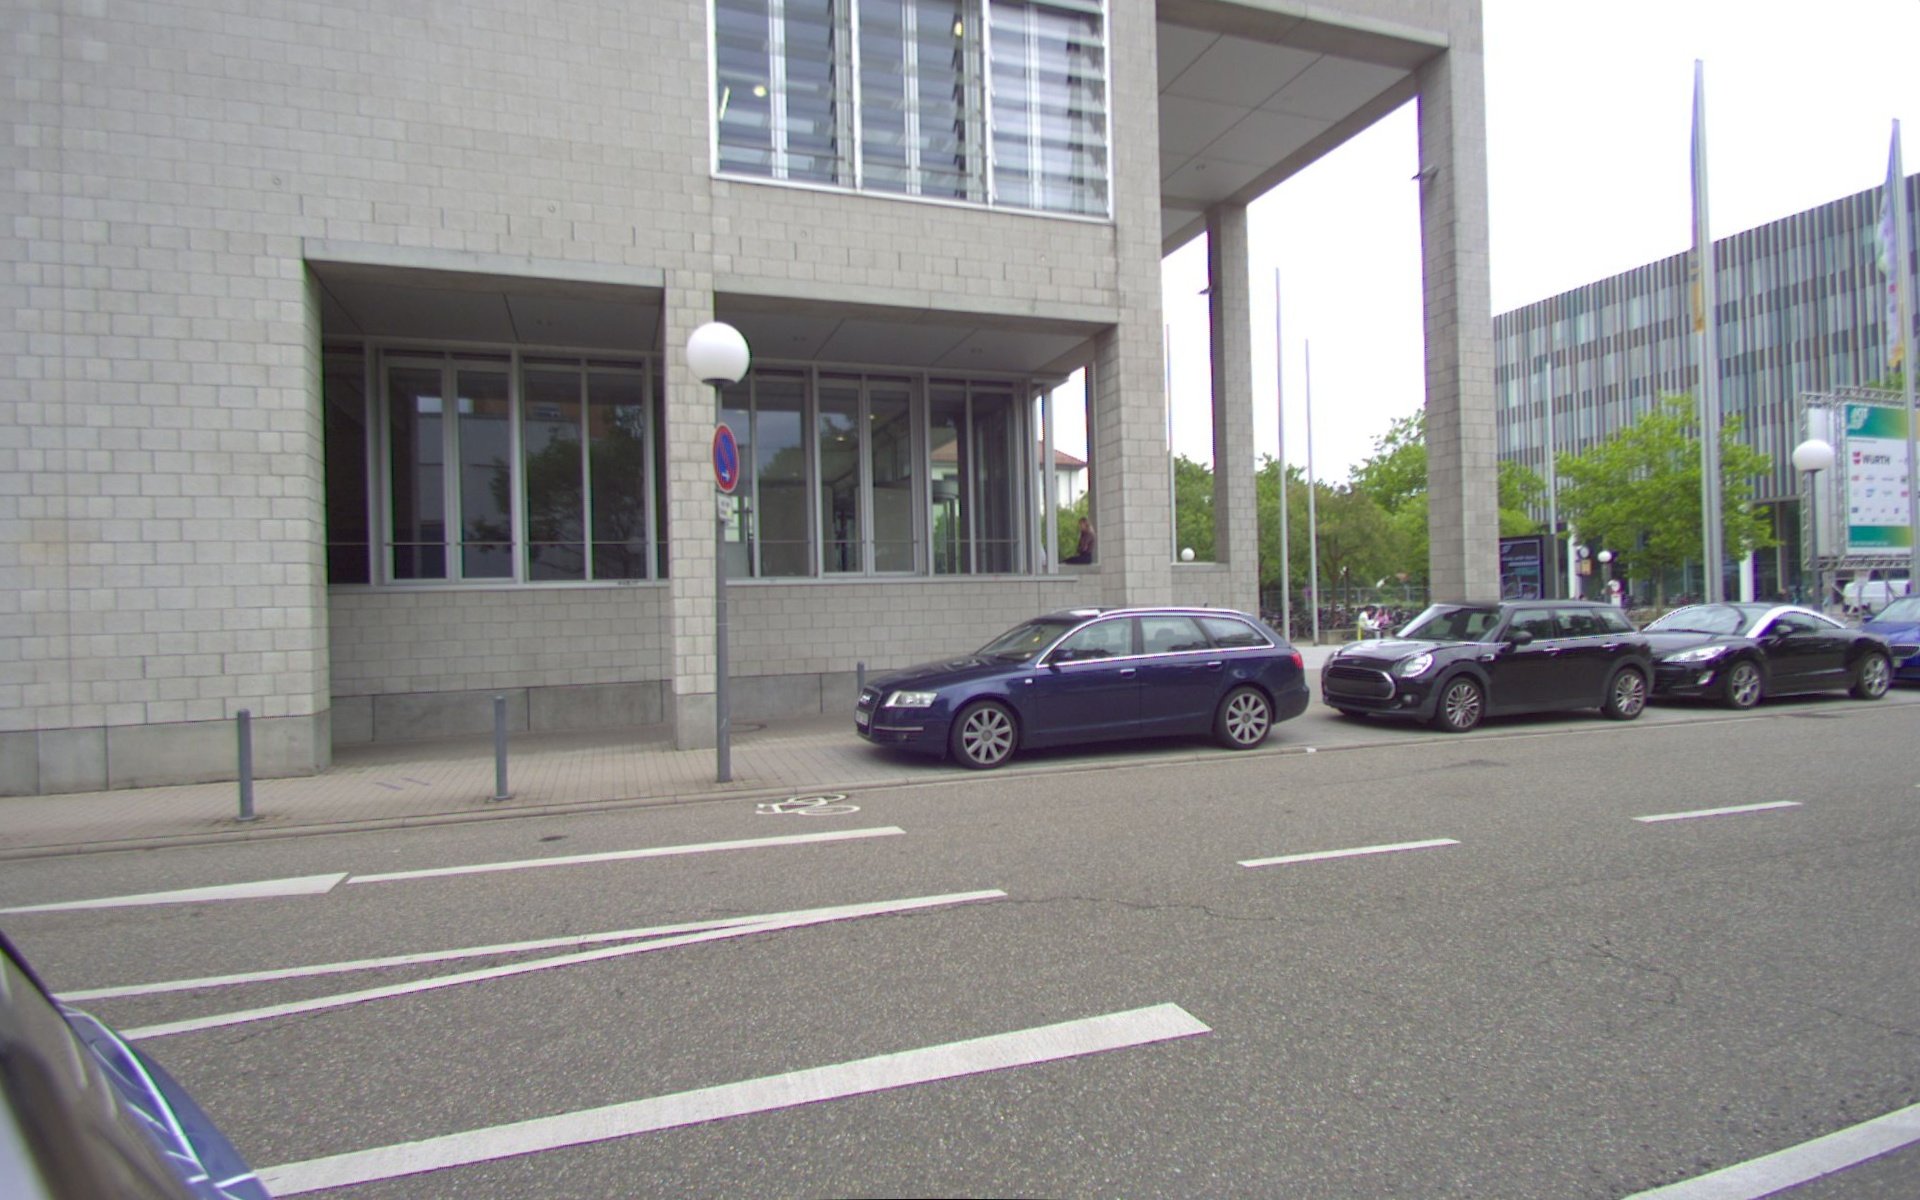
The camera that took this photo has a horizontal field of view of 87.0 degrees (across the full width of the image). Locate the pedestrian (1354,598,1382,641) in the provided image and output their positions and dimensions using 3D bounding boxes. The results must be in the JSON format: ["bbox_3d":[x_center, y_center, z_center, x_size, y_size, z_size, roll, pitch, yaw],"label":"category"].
[{"bbox_3d":[14.029,0.663,34.782,0.673,1.424,0.759,-3,-1,39],"label":"pedestrian"}]

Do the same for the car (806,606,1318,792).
[{"bbox_3d":[1.018,0.877,10.480,4.838,1.463,2.006,-2,-1,-20],"label":"car"}]

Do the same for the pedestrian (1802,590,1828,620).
[{"bbox_3d":[59.252,0.359,70.157,0.841,2.029,1.003,1,-3,-11],"label":"pedestrian"}]

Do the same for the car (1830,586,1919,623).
[{"bbox_3d":[45.831,0.210,49.279,1.965,1.675,4.855,-1,-2,-22],"label":"car"}]

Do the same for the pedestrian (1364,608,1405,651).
[{"bbox_3d":[14.841,1.019,35.388,0.952,1.431,0.855,-1,-1,-31],"label":"pedestrian"}]

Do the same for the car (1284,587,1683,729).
[{"bbox_3d":[6.409,0.603,12.424,4.442,1.454,1.830,-1,1,-21],"label":"car"}]

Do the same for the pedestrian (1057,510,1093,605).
[{"bbox_3d":[2.089,-0.759,18.495,0.623,1.671,0.805,0,-3,5],"label":"pedestrian"}]

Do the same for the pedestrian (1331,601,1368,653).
[{"bbox_3d":[13.286,0.917,34.526,0.852,1.717,0.955,-1,0,43],"label":"pedestrian"}]

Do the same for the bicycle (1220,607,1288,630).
[{"bbox_3d":[15.490,0.989,53.401,3.337,1.179,1.058,1,-3,-14],"label":"bicycle"}]

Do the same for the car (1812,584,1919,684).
[{"bbox_3d":[15.678,0.454,15.893,4.301,1.422,1.706,-2,0,-23],"label":"car"}]

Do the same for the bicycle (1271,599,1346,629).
[{"bbox_3d":[14.462,0.573,42.027,3.054,1.179,0.750,-1,-1,-18],"label":"bicycle"}]

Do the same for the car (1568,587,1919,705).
[{"bbox_3d":[10.932,0.605,14.053,4.342,1.453,1.860,0,-2,-18],"label":"car"}]
